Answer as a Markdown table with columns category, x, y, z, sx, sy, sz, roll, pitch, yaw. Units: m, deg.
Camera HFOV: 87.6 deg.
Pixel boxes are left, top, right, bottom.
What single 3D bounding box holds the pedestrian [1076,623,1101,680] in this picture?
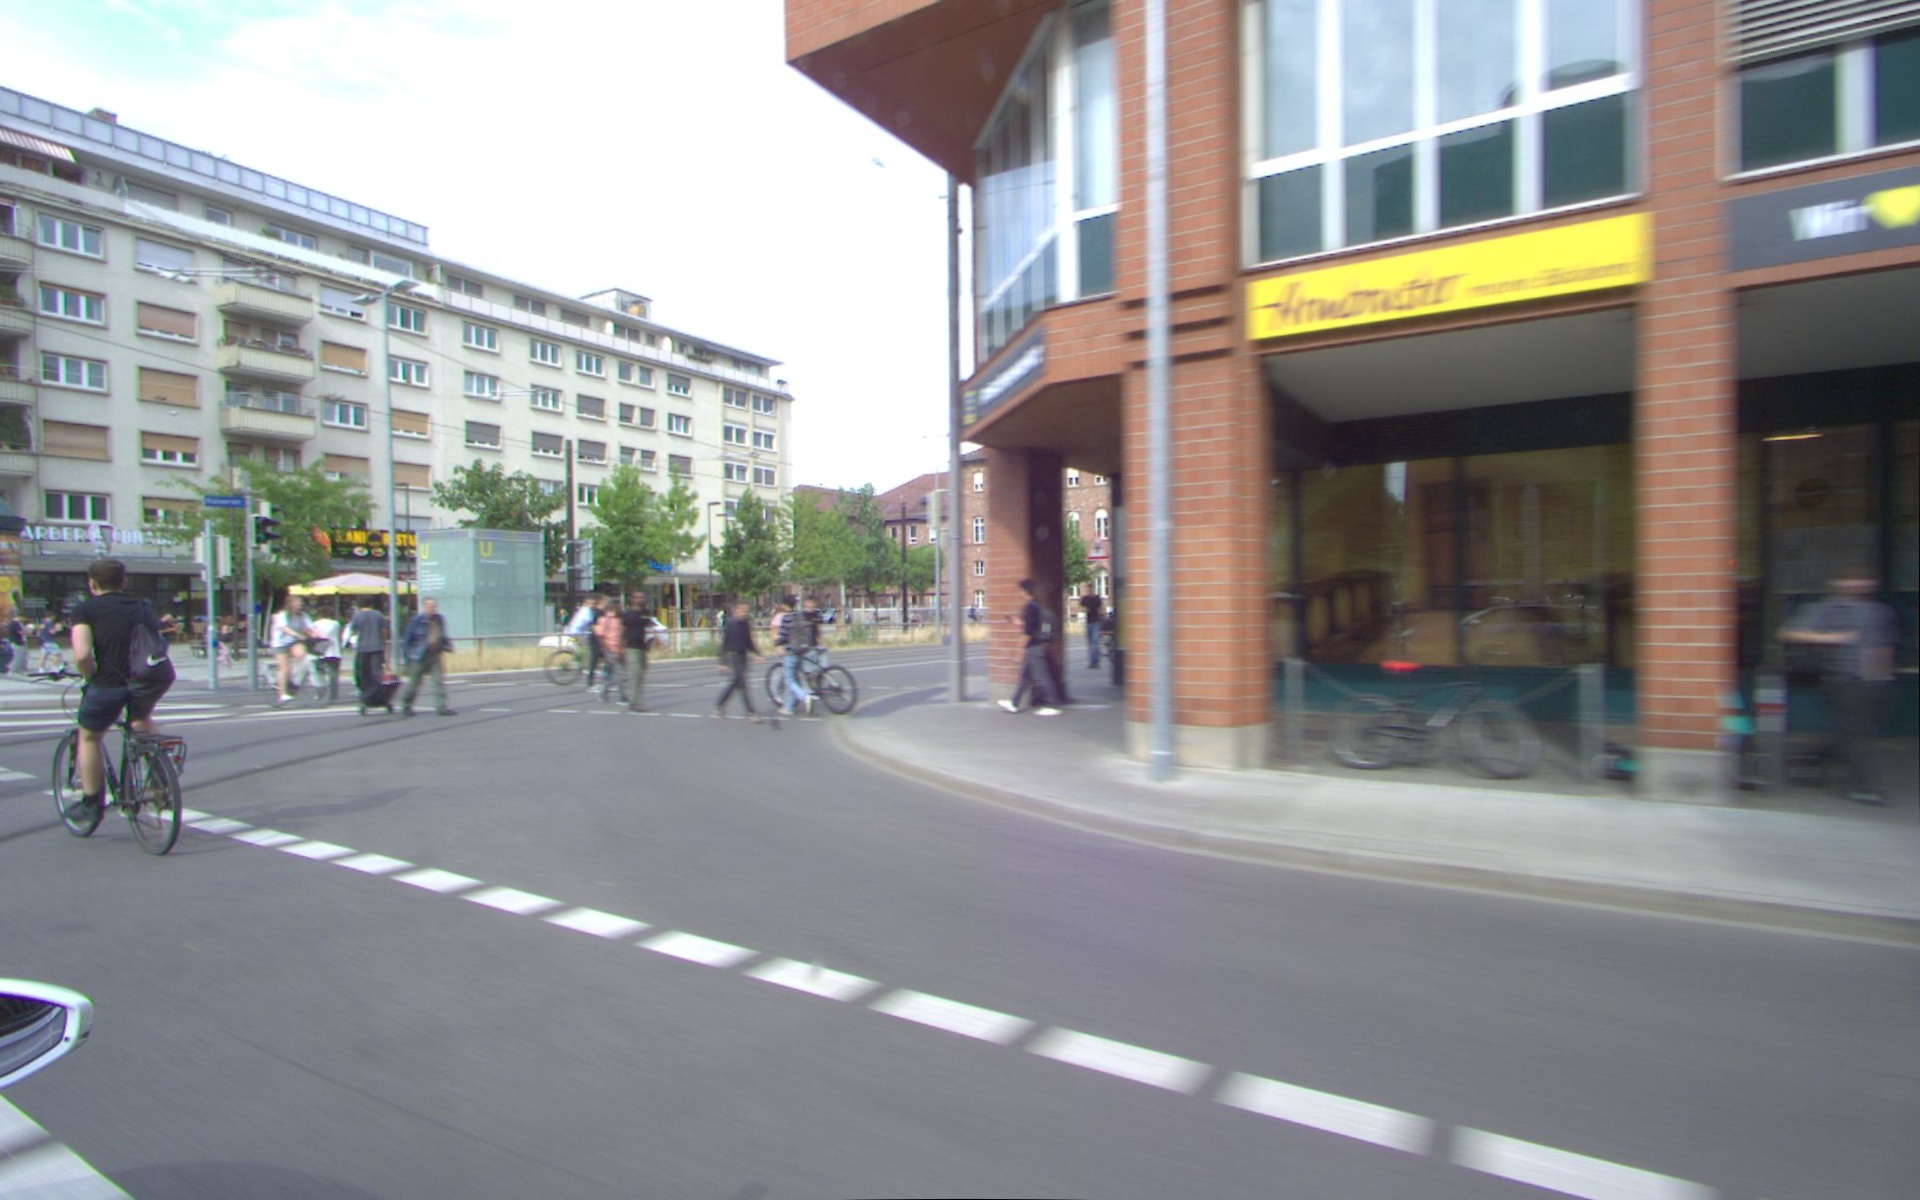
| category | x | y | z | sx | sy | sz | roll | pitch | yaw |
| --- | --- | --- | --- | --- | --- | --- | --- | --- | --- |
| pedestrian | 4.006 | 1.593 | 31.181 | 0.514 | 1.745 | 0.587 | -1 | 0 | -38 |

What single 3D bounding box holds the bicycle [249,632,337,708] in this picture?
| category | x | y | z | sx | sy | sz | roll | pitch | yaw |
| --- | --- | --- | --- | --- | --- | --- | --- | --- | --- |
| bicycle | -10.788 | 1.104 | 16.168 | 2.047 | 1.137 | 0.389 | 0 | 0 | 33 |

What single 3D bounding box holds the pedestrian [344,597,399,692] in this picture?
| category | x | y | z | sx | sy | sz | roll | pitch | yaw |
| --- | --- | --- | --- | --- | --- | --- | --- | --- | --- |
| pedestrian | -10.897 | 0.798 | 18.539 | 0.696 | 1.717 | 0.632 | 0 | 1 | 32 |

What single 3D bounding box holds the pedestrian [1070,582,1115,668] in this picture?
| category | x | y | z | sx | sy | sz | roll | pitch | yaw |
| --- | --- | --- | --- | --- | --- | --- | --- | --- | --- |
| pedestrian | 2.832 | 0.528 | 21.427 | 0.696 | 1.807 | 0.734 | -1 | 0 | 33 |

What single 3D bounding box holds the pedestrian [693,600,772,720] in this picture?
| category | x | y | z | sx | sy | sz | roll | pitch | yaw |
| --- | --- | --- | --- | --- | --- | --- | --- | --- | --- |
| pedestrian | -3.192 | 0.822 | 14.072 | 0.908 | 1.622 | 0.617 | 0 | 0 | 32 |

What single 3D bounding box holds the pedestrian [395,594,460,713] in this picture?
| category | x | y | z | sx | sy | sz | roll | pitch | yaw |
| --- | --- | --- | --- | --- | --- | --- | --- | --- | --- |
| pedestrian | -7.877 | 0.776 | 14.816 | 0.591 | 1.710 | 0.637 | 0 | 1 | 32 |

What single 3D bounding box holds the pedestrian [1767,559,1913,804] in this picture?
| category | x | y | z | sx | sy | sz | roll | pitch | yaw |
| --- | --- | --- | --- | --- | --- | --- | --- | --- | --- |
| pedestrian | 6.513 | 0.573 | 7.448 | 0.687 | 1.719 | 0.644 | -1 | 1 | 30 |

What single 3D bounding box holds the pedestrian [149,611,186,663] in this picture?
| category | x | y | z | sx | sy | sz | roll | pitch | yaw |
| --- | --- | --- | --- | --- | --- | --- | --- | --- | --- |
| pedestrian | -25.003 | 1.154 | 31.585 | 0.409 | 1.597 | 0.817 | 0 | 0 | 33 |

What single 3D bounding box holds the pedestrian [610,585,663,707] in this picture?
| category | x | y | z | sx | sy | sz | roll | pitch | yaw |
| --- | --- | --- | --- | --- | --- | --- | --- | --- | --- |
| pedestrian | -4.923 | 0.683 | 15.250 | 0.553 | 1.821 | 0.540 | 0 | 1 | 32 |

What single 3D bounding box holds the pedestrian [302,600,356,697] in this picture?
| category | x | y | z | sx | sy | sz | roll | pitch | yaw |
| --- | --- | --- | --- | --- | --- | --- | --- | --- | --- |
| pedestrian | -11.261 | 0.855 | 17.877 | 0.783 | 1.708 | 0.468 | 0 | 0 | 27 |

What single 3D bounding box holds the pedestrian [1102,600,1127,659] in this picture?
| category | x | y | z | sx | sy | sz | roll | pitch | yaw |
| --- | --- | --- | --- | --- | --- | --- | --- | --- | --- |
| pedestrian | 4.630 | 0.874 | 30.067 | 0.514 | 1.745 | 0.537 | -1 | 0 | -38 |

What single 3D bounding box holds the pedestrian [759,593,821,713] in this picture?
| category | x | y | z | sx | sy | sz | roll | pitch | yaw |
| --- | --- | --- | --- | --- | --- | --- | --- | --- | --- |
| pedestrian | -2.480 | 0.756 | 14.615 | 0.715 | 1.708 | 0.518 | 0 | 0 | 33 |

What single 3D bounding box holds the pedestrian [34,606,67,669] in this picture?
| category | x | y | z | sx | sy | sz | roll | pitch | yaw |
| --- | --- | --- | --- | --- | --- | --- | --- | --- | --- |
| pedestrian | -25.593 | 1.049 | 28.171 | 0.409 | 1.760 | 0.592 | 0 | 0 | 32 |

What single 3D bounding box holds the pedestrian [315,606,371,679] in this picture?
| category | x | y | z | sx | sy | sz | roll | pitch | yaw |
| --- | --- | --- | --- | --- | --- | --- | --- | --- | --- |
| pedestrian | -13.161 | 0.906 | 21.367 | 0.832 | 1.520 | 0.552 | -2 | 0 | 16 |

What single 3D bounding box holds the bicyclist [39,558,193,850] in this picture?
| category | x | y | z | sx | sy | sz | roll | pitch | yaw |
| --- | --- | --- | --- | --- | --- | --- | --- | --- | --- |
| bicyclist | -5.414 | 0.623 | 6.421 | 0.851 | 1.732 | 0.557 | 0 | 0 | 36 |

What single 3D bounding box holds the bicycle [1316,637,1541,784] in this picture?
| category | x | y | z | sx | sy | sz | roll | pitch | yaw |
| --- | --- | --- | --- | --- | --- | --- | --- | --- | --- |
| bicycle | 4.009 | 0.901 | 8.623 | 1.676 | 1.107 | 0.563 | -1 | 2 | 36 |

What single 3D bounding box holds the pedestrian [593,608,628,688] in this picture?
| category | x | y | z | sx | sy | sz | roll | pitch | yaw |
| --- | --- | --- | --- | --- | --- | --- | --- | --- | --- |
| pedestrian | -6.820 | 0.927 | 19.531 | 0.619 | 1.531 | 0.591 | 0 | 0 | -21 |

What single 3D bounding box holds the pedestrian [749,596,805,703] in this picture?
| category | x | y | z | sx | sy | sz | roll | pitch | yaw |
| --- | --- | --- | --- | --- | --- | --- | --- | --- | --- |
| pedestrian | -2.993 | 0.792 | 16.430 | 0.641 | 1.711 | 0.645 | 0 | 1 | 32 |

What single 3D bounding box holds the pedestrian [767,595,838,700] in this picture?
| category | x | y | z | sx | sy | sz | roll | pitch | yaw |
| --- | --- | --- | --- | --- | --- | --- | --- | --- | --- |
| pedestrian | -2.684 | 0.784 | 17.097 | 1.041 | 1.737 | 0.645 | 0 | 1 | 32 |

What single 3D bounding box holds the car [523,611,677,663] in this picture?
| category | x | y | z | sx | sy | sz | roll | pitch | yaw |
| --- | --- | --- | --- | --- | --- | --- | --- | --- | --- |
| car | -11.837 | 1.162 | 33.251 | 1.971 | 1.532 | 4.578 | 0 | 0 | 32 |

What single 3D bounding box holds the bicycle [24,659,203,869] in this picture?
| category | x | y | z | sx | sy | sz | roll | pitch | yaw |
| --- | --- | --- | --- | --- | --- | --- | --- | --- | --- |
| bicycle | -5.578 | 0.997 | 6.557 | 1.990 | 1.137 | 0.404 | 0 | 0 | 35 |

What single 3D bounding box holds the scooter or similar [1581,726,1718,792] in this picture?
| category | x | y | z | sx | sy | sz | roll | pitch | yaw |
| --- | --- | --- | --- | --- | --- | --- | --- | --- | --- |
| scooter or similar | 5.504 | 1.263 | 8.024 | 0.878 | 0.424 | 0.262 | 0 | 1 | 30 |

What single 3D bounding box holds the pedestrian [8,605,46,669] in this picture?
| category | x | y | z | sx | sy | sz | roll | pitch | yaw |
| --- | --- | --- | --- | --- | --- | --- | --- | --- | --- |
| pedestrian | -26.156 | 1.027 | 28.072 | 0.409 | 1.760 | 0.698 | 0 | 0 | 31 |

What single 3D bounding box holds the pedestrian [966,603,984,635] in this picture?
| category | x | y | z | sx | sy | sz | roll | pitch | yaw |
| --- | --- | --- | --- | --- | --- | --- | --- | --- | --- |
| pedestrian | 0.946 | 1.202 | 63.364 | 0.748 | 2.040 | 0.904 | 0 | 0 | 28 |

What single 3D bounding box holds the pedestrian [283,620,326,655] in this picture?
| category | x | y | z | sx | sy | sz | roll | pitch | yaw |
| --- | --- | --- | --- | --- | --- | --- | --- | --- | --- |
| pedestrian | -24.395 | 1.391 | 37.274 | 0.922 | 1.261 | 1.029 | -1 | -2 | 34 |

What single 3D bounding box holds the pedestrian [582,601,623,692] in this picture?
| category | x | y | z | sx | sy | sz | roll | pitch | yaw |
| --- | --- | --- | --- | --- | --- | --- | --- | --- | --- |
| pedestrian | -6.725 | 0.858 | 18.836 | 0.709 | 1.669 | 0.705 | 0 | 0 | -21 |

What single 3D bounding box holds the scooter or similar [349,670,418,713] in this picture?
| category | x | y | z | sx | sy | sz | roll | pitch | yaw |
| --- | --- | --- | --- | --- | --- | --- | --- | --- | --- |
| scooter or similar | -8.575 | 1.357 | 14.890 | 0.802 | 0.581 | 0.507 | -1 | 0 | 23 |

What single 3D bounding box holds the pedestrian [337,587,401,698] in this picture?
| category | x | y | z | sx | sy | sz | roll | pitch | yaw |
| --- | --- | --- | --- | --- | --- | --- | --- | --- | --- |
| pedestrian | -10.265 | 0.721 | 17.392 | 0.864 | 1.879 | 0.637 | 0 | 1 | 32 |

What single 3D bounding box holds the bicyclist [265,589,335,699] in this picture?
| category | x | y | z | sx | sy | sz | roll | pitch | yaw |
| --- | --- | --- | --- | --- | --- | --- | --- | --- | --- |
| bicyclist | -10.664 | 0.693 | 16.180 | 0.850 | 1.732 | 0.639 | 0 | 0 | 33 |

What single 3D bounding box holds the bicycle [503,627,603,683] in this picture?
| category | x | y | z | sx | sy | sz | roll | pitch | yaw |
| --- | --- | --- | --- | --- | --- | --- | --- | --- | --- |
| bicycle | -8.359 | 1.118 | 20.615 | 1.888 | 1.101 | 0.390 | 0 | 0 | -23 |

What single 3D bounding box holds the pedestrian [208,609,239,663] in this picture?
| category | x | y | z | sx | sy | sz | roll | pitch | yaw |
| --- | --- | --- | --- | --- | --- | --- | --- | --- | --- |
| pedestrian | -23.140 | 1.128 | 31.458 | 0.433 | 1.663 | 0.675 | 0 | 0 | 31 |

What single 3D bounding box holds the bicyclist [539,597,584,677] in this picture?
| category | x | y | z | sx | sy | sz | roll | pitch | yaw |
| --- | --- | --- | --- | --- | --- | --- | --- | --- | --- |
| bicyclist | -8.274 | 0.762 | 20.799 | 0.848 | 1.624 | 0.640 | 0 | 0 | -22 |

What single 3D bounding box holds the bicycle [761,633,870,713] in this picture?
| category | x | y | z | sx | sy | sz | roll | pitch | yaw |
| --- | --- | --- | --- | --- | --- | --- | --- | --- | --- |
| bicycle | -2.180 | 1.070 | 14.976 | 1.804 | 1.125 | 0.395 | 0 | 0 | 33 |

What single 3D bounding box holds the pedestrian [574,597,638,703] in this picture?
| category | x | y | z | sx | sy | sz | roll | pitch | yaw |
| --- | --- | --- | --- | --- | --- | --- | --- | --- | --- |
| pedestrian | -5.736 | 0.793 | 16.231 | 0.880 | 1.673 | 0.540 | 0 | 1 | 32 |

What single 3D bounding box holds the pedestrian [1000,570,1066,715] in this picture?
| category | x | y | z | sx | sy | sz | roll | pitch | yaw |
| --- | --- | --- | --- | --- | --- | --- | --- | --- | --- |
| pedestrian | 0.961 | 0.555 | 13.156 | 0.685 | 1.847 | 0.567 | 0 | -2 | 31 |
